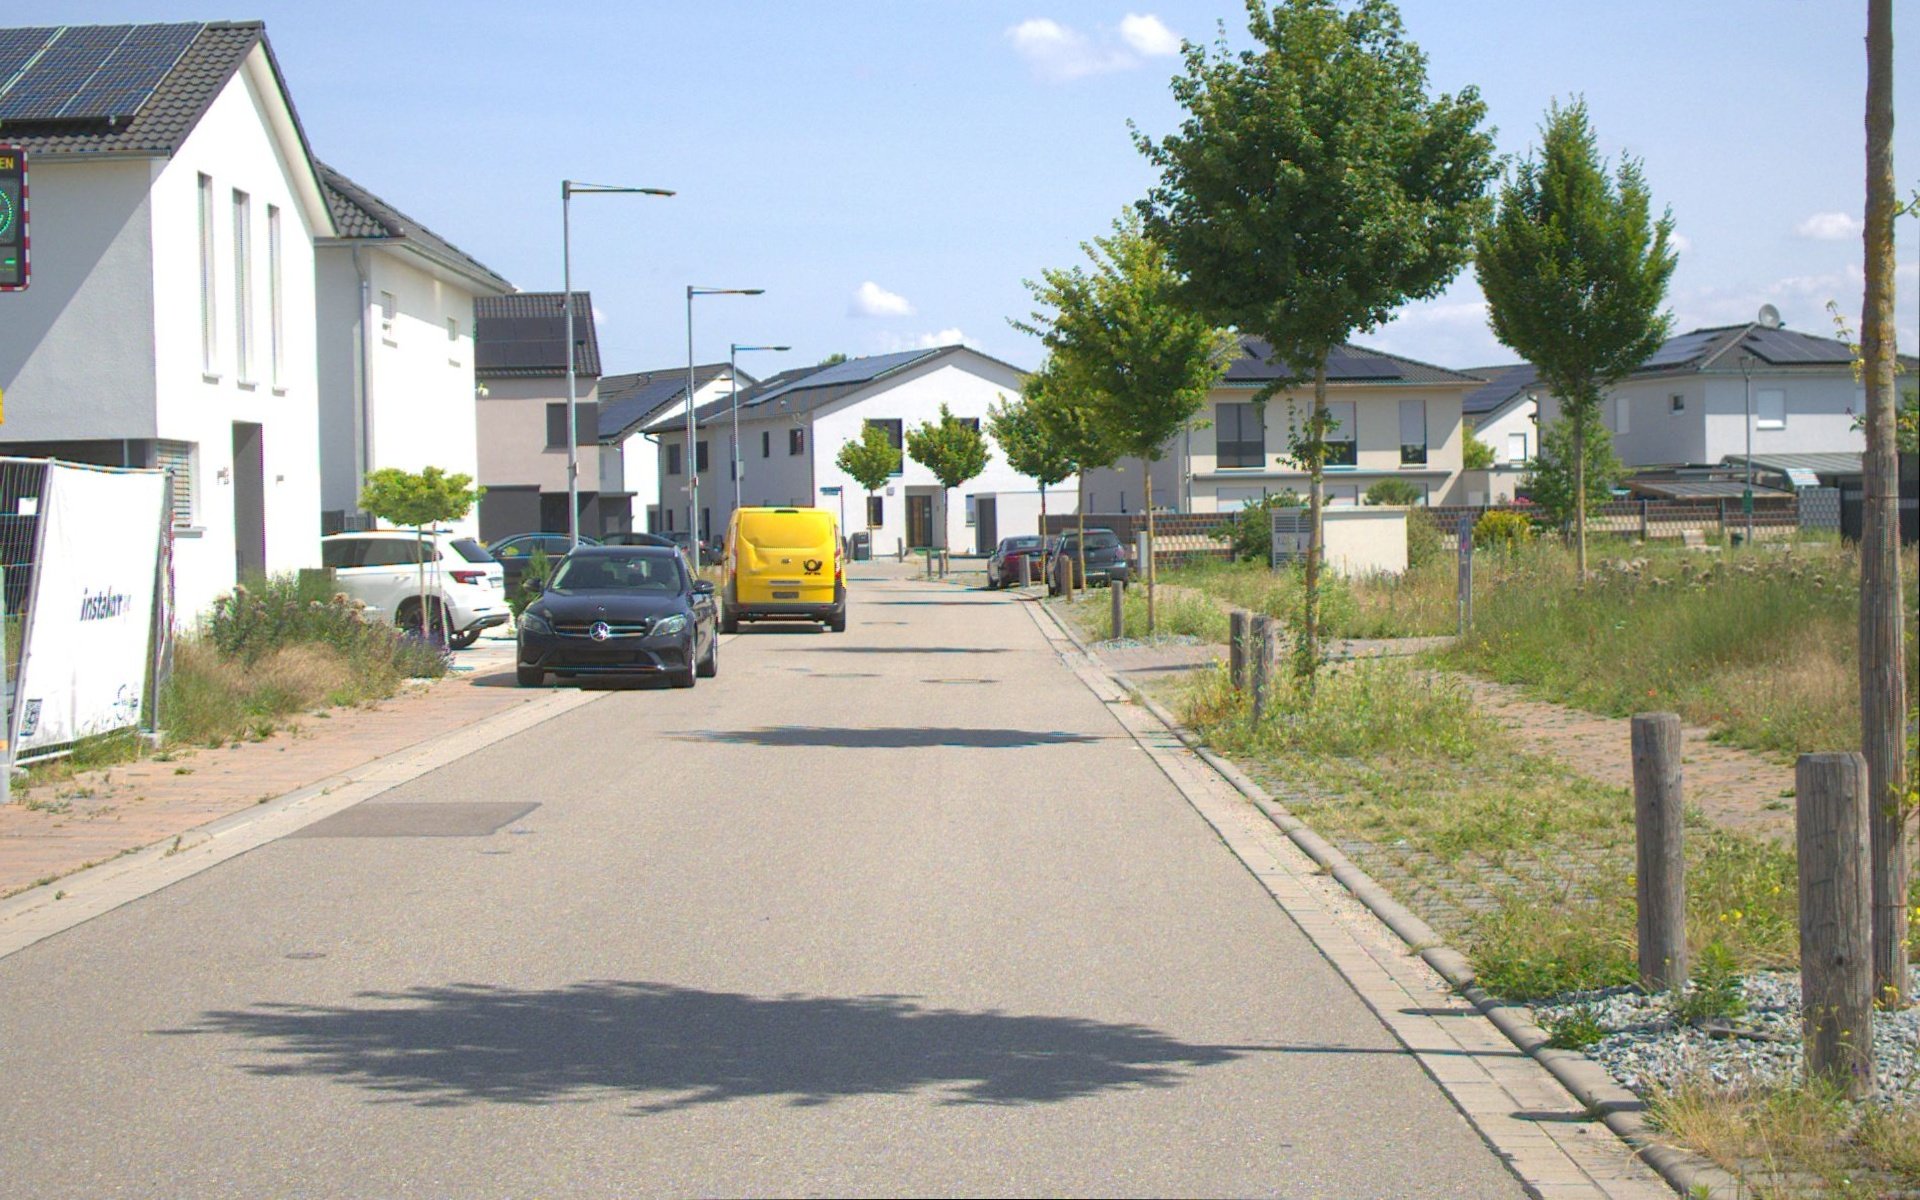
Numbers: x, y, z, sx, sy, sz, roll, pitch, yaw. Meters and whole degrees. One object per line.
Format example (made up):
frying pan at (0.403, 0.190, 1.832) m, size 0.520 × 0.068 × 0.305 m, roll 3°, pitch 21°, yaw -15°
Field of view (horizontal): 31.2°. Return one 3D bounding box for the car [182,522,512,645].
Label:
car at (-8.285, -0.240, 46.662) m, size 4.069 × 1.576 × 1.784 m, roll 0°, pitch 2°, yaw 6°

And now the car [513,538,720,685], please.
car at (-3.549, 0.076, 36.117) m, size 1.745 × 1.400 × 4.160 m, roll 1°, pitch 1°, yaw 0°

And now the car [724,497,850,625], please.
car at (-2.853, -0.625, 56.241) m, size 1.941 × 1.975 × 4.217 m, roll -1°, pitch 0°, yaw -4°

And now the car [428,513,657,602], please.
car at (-8.153, -0.827, 67.031) m, size 4.159 × 1.499 × 1.816 m, roll 3°, pitch 0°, yaw -15°

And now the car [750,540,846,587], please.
car at (-5.118, -1.133, 108.132) m, size 1.993 × 1.426 × 4.702 m, roll -1°, pitch 0°, yaw -15°

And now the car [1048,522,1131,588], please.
car at (2.859, -0.981, 76.251) m, size 1.639 × 1.398 × 3.811 m, roll 0°, pitch 0°, yaw -1°

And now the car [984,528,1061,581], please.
car at (1.703, -1.241, 94.878) m, size 1.627 × 1.318 × 3.834 m, roll -1°, pitch -1°, yaw -6°
